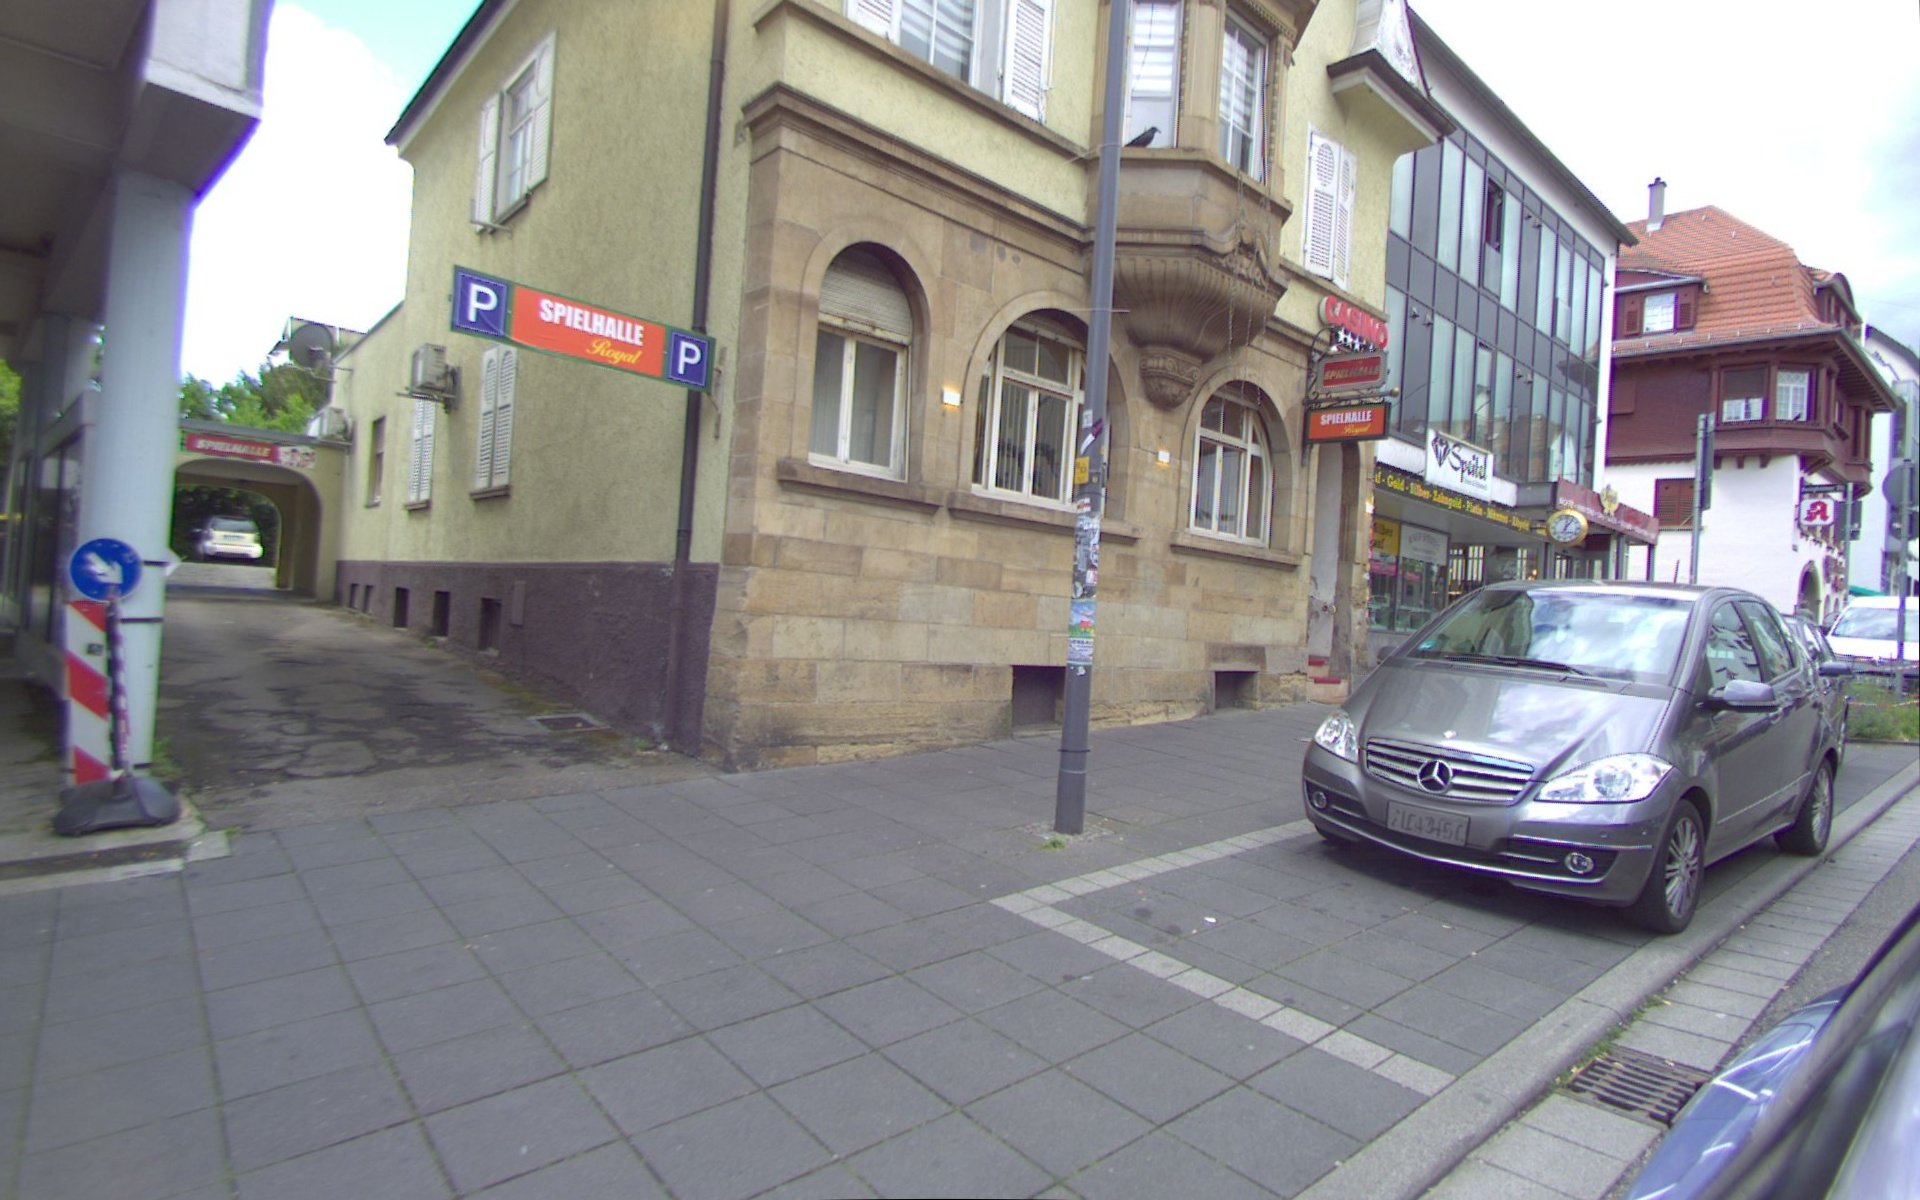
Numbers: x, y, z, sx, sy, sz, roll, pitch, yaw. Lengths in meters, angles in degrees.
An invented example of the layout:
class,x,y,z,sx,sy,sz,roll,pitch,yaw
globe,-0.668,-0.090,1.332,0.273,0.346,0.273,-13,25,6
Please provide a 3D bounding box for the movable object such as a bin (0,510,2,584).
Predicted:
class,x,y,z,sx,sy,sz,roll,pitch,yaw
movable object such as a bin,-17.683,-0.947,17.914,1.014,1.328,0.900,0,3,-42

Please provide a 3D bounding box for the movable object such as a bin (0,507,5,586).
class,x,y,z,sx,sy,sz,roll,pitch,yaw
movable object such as a bin,-16.905,-0.934,17.145,1.014,1.328,0.900,0,3,-42

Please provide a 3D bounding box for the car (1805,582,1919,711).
class,x,y,z,sx,sy,sz,roll,pitch,yaw
car,15.312,0.685,16.089,4.644,1.822,1.882,1,1,-37

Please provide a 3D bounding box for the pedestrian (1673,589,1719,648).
class,x,y,z,sx,sy,sz,roll,pitch,yaw
pedestrian,21.563,0.534,29.641,0.853,1.665,0.775,1,2,-34

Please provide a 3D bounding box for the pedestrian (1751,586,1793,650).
class,x,y,z,sx,sy,sz,roll,pitch,yaw
pedestrian,23.338,0.503,29.091,0.803,1.791,0.776,1,1,-39

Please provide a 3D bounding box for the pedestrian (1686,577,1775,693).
class,x,y,z,sx,sy,sz,roll,pitch,yaw
pedestrian,11.630,0.504,15.282,0.786,1.686,0.827,1,1,-34

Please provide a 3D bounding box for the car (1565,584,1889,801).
class,x,y,z,sx,sy,sz,roll,pitch,yaw
car,7.247,0.674,9.424,3.809,1.527,1.751,0,3,-43

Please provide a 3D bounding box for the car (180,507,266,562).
class,x,y,z,sx,sy,sz,roll,pitch,yaw
car,-23.882,-2.151,32.741,1.892,1.541,3.978,0,5,-41

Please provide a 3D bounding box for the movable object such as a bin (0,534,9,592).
class,x,y,z,sx,sy,sz,roll,pitch,yaw
movable object such as a bin,-14.880,-0.570,15.425,0.536,0.871,0.512,0,3,-41

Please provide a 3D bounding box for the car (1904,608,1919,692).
class,x,y,z,sx,sy,sz,roll,pitch,yaw
car,19.100,0.944,19.017,3.933,1.486,1.705,0,2,-43

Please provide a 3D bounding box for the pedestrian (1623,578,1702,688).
class,x,y,z,sx,sy,sz,roll,pitch,yaw
pedestrian,11.710,0.519,16.871,1.034,1.748,0.798,0,1,-40

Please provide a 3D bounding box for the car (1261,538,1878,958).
class,x,y,z,sx,sy,sz,roll,pitch,yaw
car,3.623,0.552,5.797,3.730,1.627,1.753,1,3,-38

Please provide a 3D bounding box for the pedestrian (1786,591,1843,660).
class,x,y,z,sx,sy,sz,roll,pitch,yaw
pedestrian,22.167,0.650,26.252,0.927,1.728,0.867,1,2,-34
